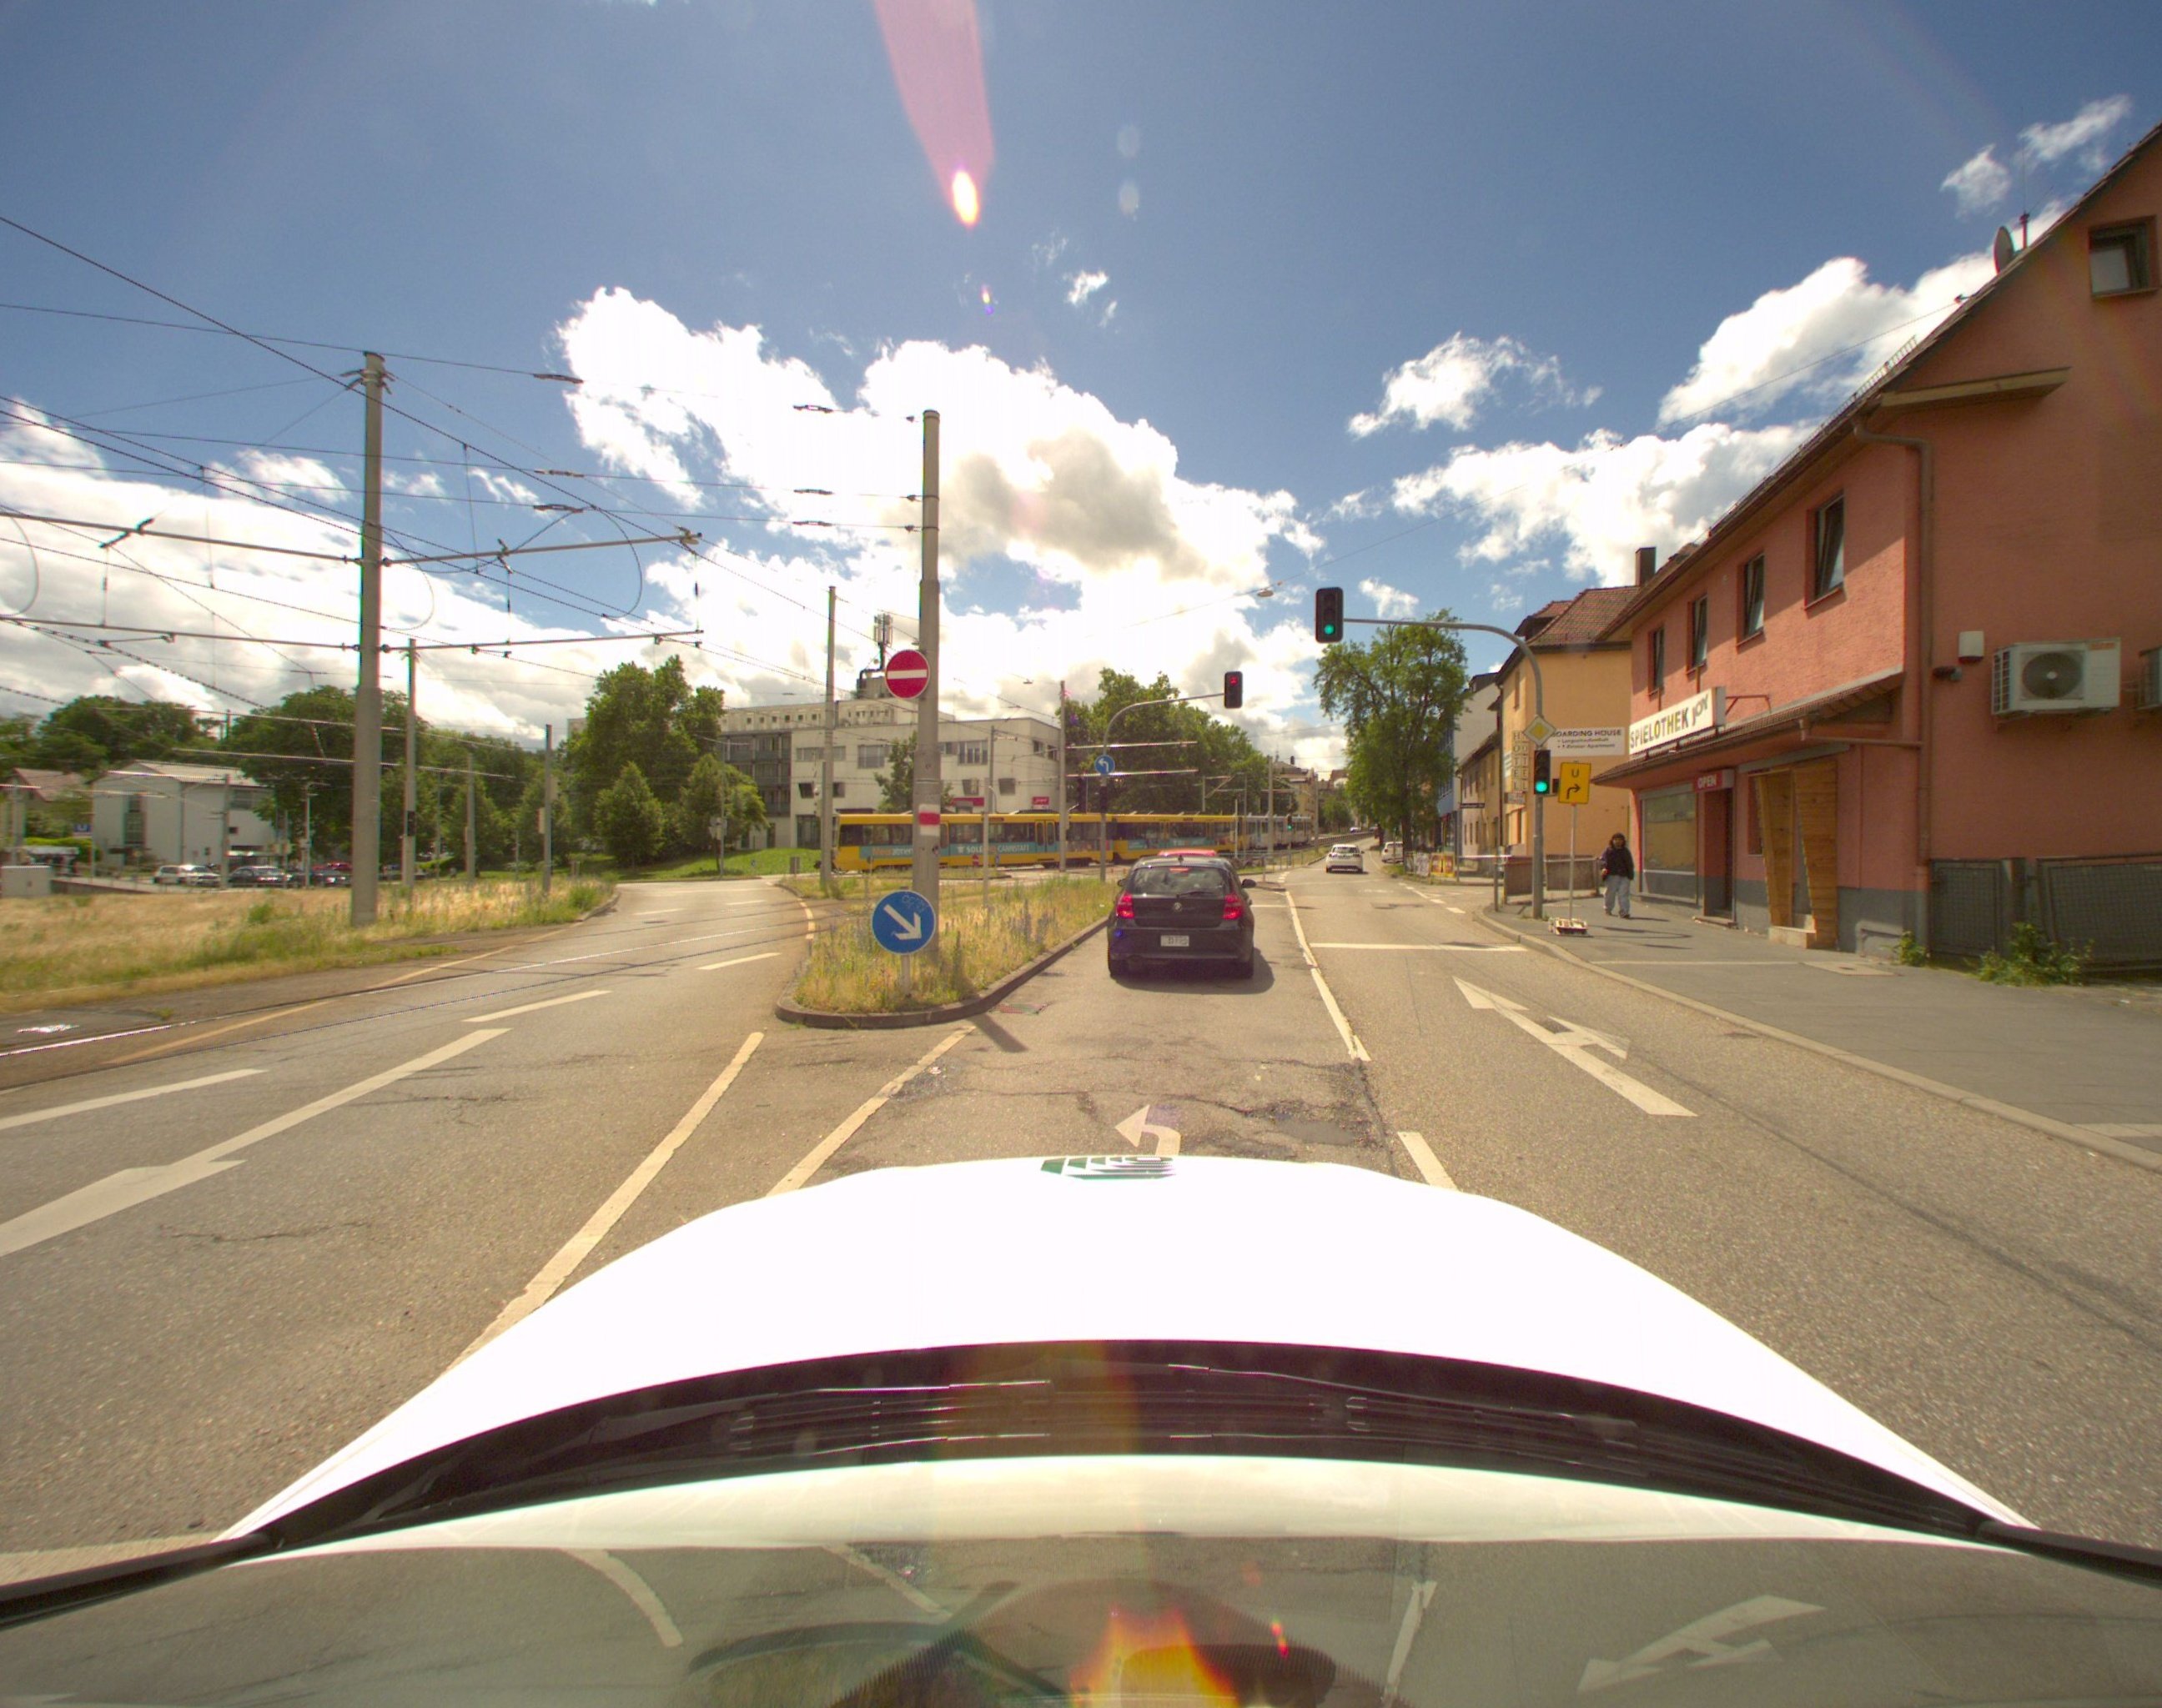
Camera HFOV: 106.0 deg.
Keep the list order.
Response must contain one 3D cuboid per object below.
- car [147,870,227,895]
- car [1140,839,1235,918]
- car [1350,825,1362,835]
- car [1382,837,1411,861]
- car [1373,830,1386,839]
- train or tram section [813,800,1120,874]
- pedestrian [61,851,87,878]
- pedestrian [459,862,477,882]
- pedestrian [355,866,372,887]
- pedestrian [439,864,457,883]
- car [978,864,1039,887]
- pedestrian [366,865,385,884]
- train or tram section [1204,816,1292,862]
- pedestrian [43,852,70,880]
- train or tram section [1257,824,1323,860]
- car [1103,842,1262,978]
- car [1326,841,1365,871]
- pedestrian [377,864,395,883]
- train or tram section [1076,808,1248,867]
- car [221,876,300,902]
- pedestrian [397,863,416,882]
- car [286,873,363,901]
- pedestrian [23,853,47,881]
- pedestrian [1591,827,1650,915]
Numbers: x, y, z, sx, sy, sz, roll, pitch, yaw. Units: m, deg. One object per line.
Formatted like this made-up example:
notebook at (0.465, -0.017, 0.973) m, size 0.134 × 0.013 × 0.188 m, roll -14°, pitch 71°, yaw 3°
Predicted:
car at (-60.628, 1.947, 55.236) m, size 4.442 × 1.555 × 1.947 m, roll -1°, pitch -1°, yaw 17°
car at (2.385, 0.487, 17.458) m, size 1.614 × 1.473 × 4.014 m, roll -1°, pitch -1°, yaw 13°
car at (63.263, -5.553, 187.420) m, size 1.975 × 2.014 × 4.024 m, roll -2°, pitch -1°, yaw 28°
car at (22.623, -0.325, 58.518) m, size 1.772 × 1.596 × 4.020 m, roll -1°, pitch -1°, yaw 19°
car at (48.620, -3.162, 132.599) m, size 1.800 × 1.468 × 4.021 m, roll 2°, pitch 1°, yaw 21°
train or tram section at (-6.295, -0.999, 50.020) m, size 18.973 × 3.919 × 3.721 m, roll -1°, pitch -1°, yaw -35°
pedestrian at (-62.943, 0.642, 50.910) m, size 0.610 × 1.691 × 0.842 m, roll -1°, pitch 0°, yaw 20°
pedestrian at (-50.141, 1.449, 66.612) m, size 0.808 × 1.576 × 0.844 m, roll -1°, pitch 0°, yaw 11°
pedestrian at (-63.804, 1.980, 72.399) m, size 0.811 × 1.866 × 0.836 m, roll -1°, pitch 0°, yaw 20°
pedestrian at (-53.006, 1.604, 68.202) m, size 0.808 × 1.576 × 0.844 m, roll -1°, pitch 0°, yaw 11°
car at (-5.450, 1.604, 61.272) m, size 4.189 × 1.585 × 1.838 m, roll -1°, pitch -1°, yaw -37°
pedestrian at (-60.096, 1.765, 69.371) m, size 0.808 × 1.576 × 0.844 m, roll -1°, pitch 0°, yaw 11°
train or tram section at (16.895, -1.286, 79.988) m, size 3.715 × 3.879 × 20.754 m, roll -2°, pitch -1°, yaw 25°
pedestrian at (-64.408, 0.757, 51.193) m, size 0.789 × 1.732 × 0.842 m, roll -1°, pitch 0°, yaw 20°
train or tram section at (25.471, -1.353, 98.058) m, size 3.715 × 3.814 × 20.168 m, roll -2°, pitch -1°, yaw 26°
car at (1.249, 0.633, 10.892) m, size 1.693 × 1.452 × 4.004 m, roll -1°, pitch -1°, yaw 4°
car at (13.780, 0.082, 42.617) m, size 1.801 × 1.468 × 4.018 m, roll 1°, pitch 1°, yaw 16°
pedestrian at (-60.060, 1.701, 70.420) m, size 0.808 × 1.576 × 0.844 m, roll -1°, pitch 0°, yaw 11°
train or tram section at (7.054, -1.146, 63.102) m, size 3.713 × 3.829 × 20.278 m, roll -2°, pitch -1°, yaw 35°
car at (-54.052, 2.298, 53.671) m, size 4.208 × 1.651 × 1.927 m, roll -1°, pitch -1°, yaw 17°
pedestrian at (-55.845, 1.530, 67.401) m, size 0.808 × 1.576 × 0.844 m, roll -1°, pitch 0°, yaw 11°
car at (-52.203, 2.281, 56.239) m, size 4.192 × 1.791 × 2.032 m, roll -1°, pitch 0°, yaw 17°
pedestrian at (-66.019, 0.819, 51.395) m, size 0.666 × 1.684 × 0.760 m, roll -1°, pitch 0°, yaw 20°
pedestrian at (10.421, 0.314, 15.757) m, size 0.758 × 1.642 × 0.781 m, roll -1°, pitch 1°, yaw 18°
